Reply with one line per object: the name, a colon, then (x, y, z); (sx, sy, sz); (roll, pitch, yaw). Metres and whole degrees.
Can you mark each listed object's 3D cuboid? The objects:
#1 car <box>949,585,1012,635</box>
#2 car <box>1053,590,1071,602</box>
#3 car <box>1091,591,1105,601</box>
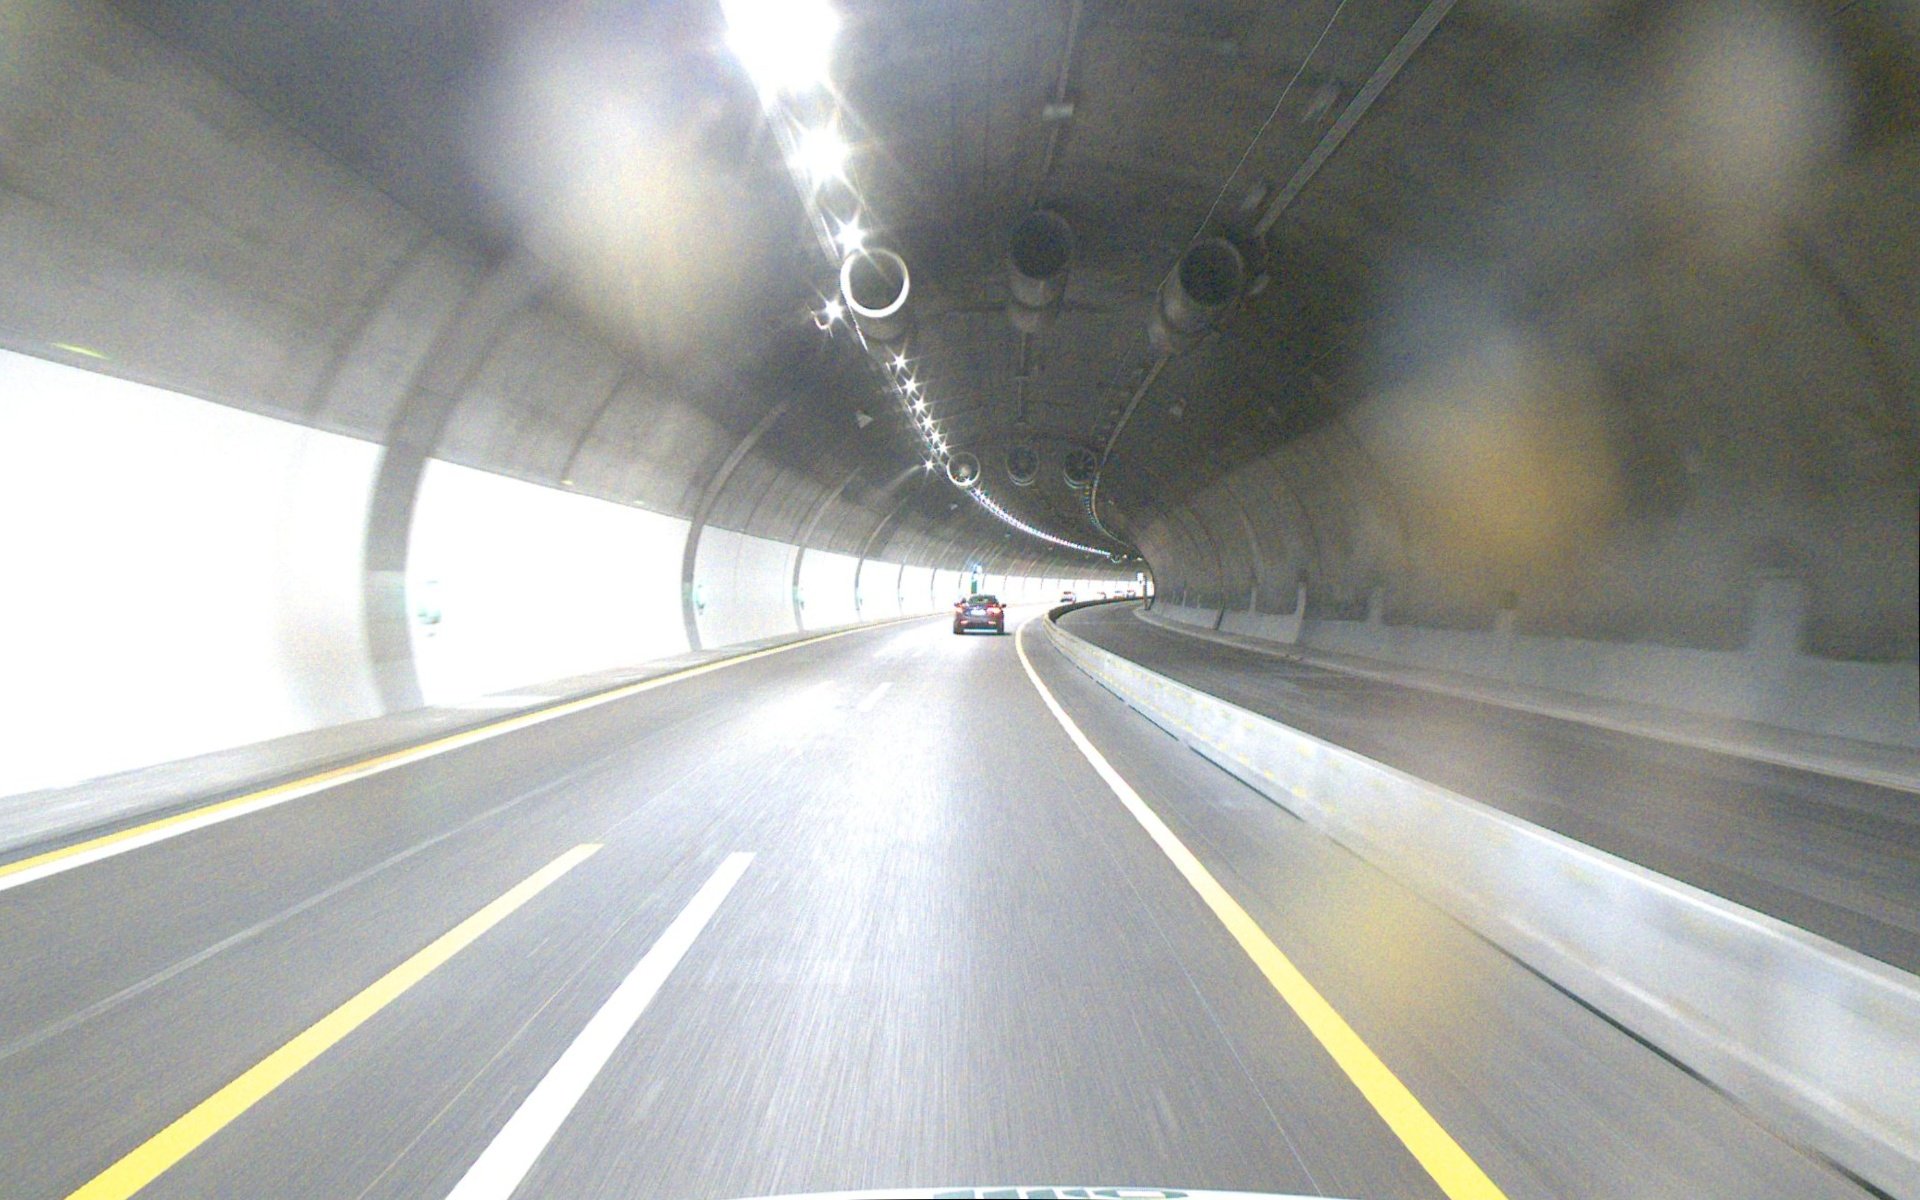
car: (0.786, 0.341, 61.192); (2.096, 1.735, 4.002); (1, 0, 3)
car: (13.701, -0.555, 222.161); (2.119, 1.512, 4.003); (1, 1, 8)
car: (19.251, -0.502, 230.804); (1.561, 1.356, 3.754); (1, 0, 9)
